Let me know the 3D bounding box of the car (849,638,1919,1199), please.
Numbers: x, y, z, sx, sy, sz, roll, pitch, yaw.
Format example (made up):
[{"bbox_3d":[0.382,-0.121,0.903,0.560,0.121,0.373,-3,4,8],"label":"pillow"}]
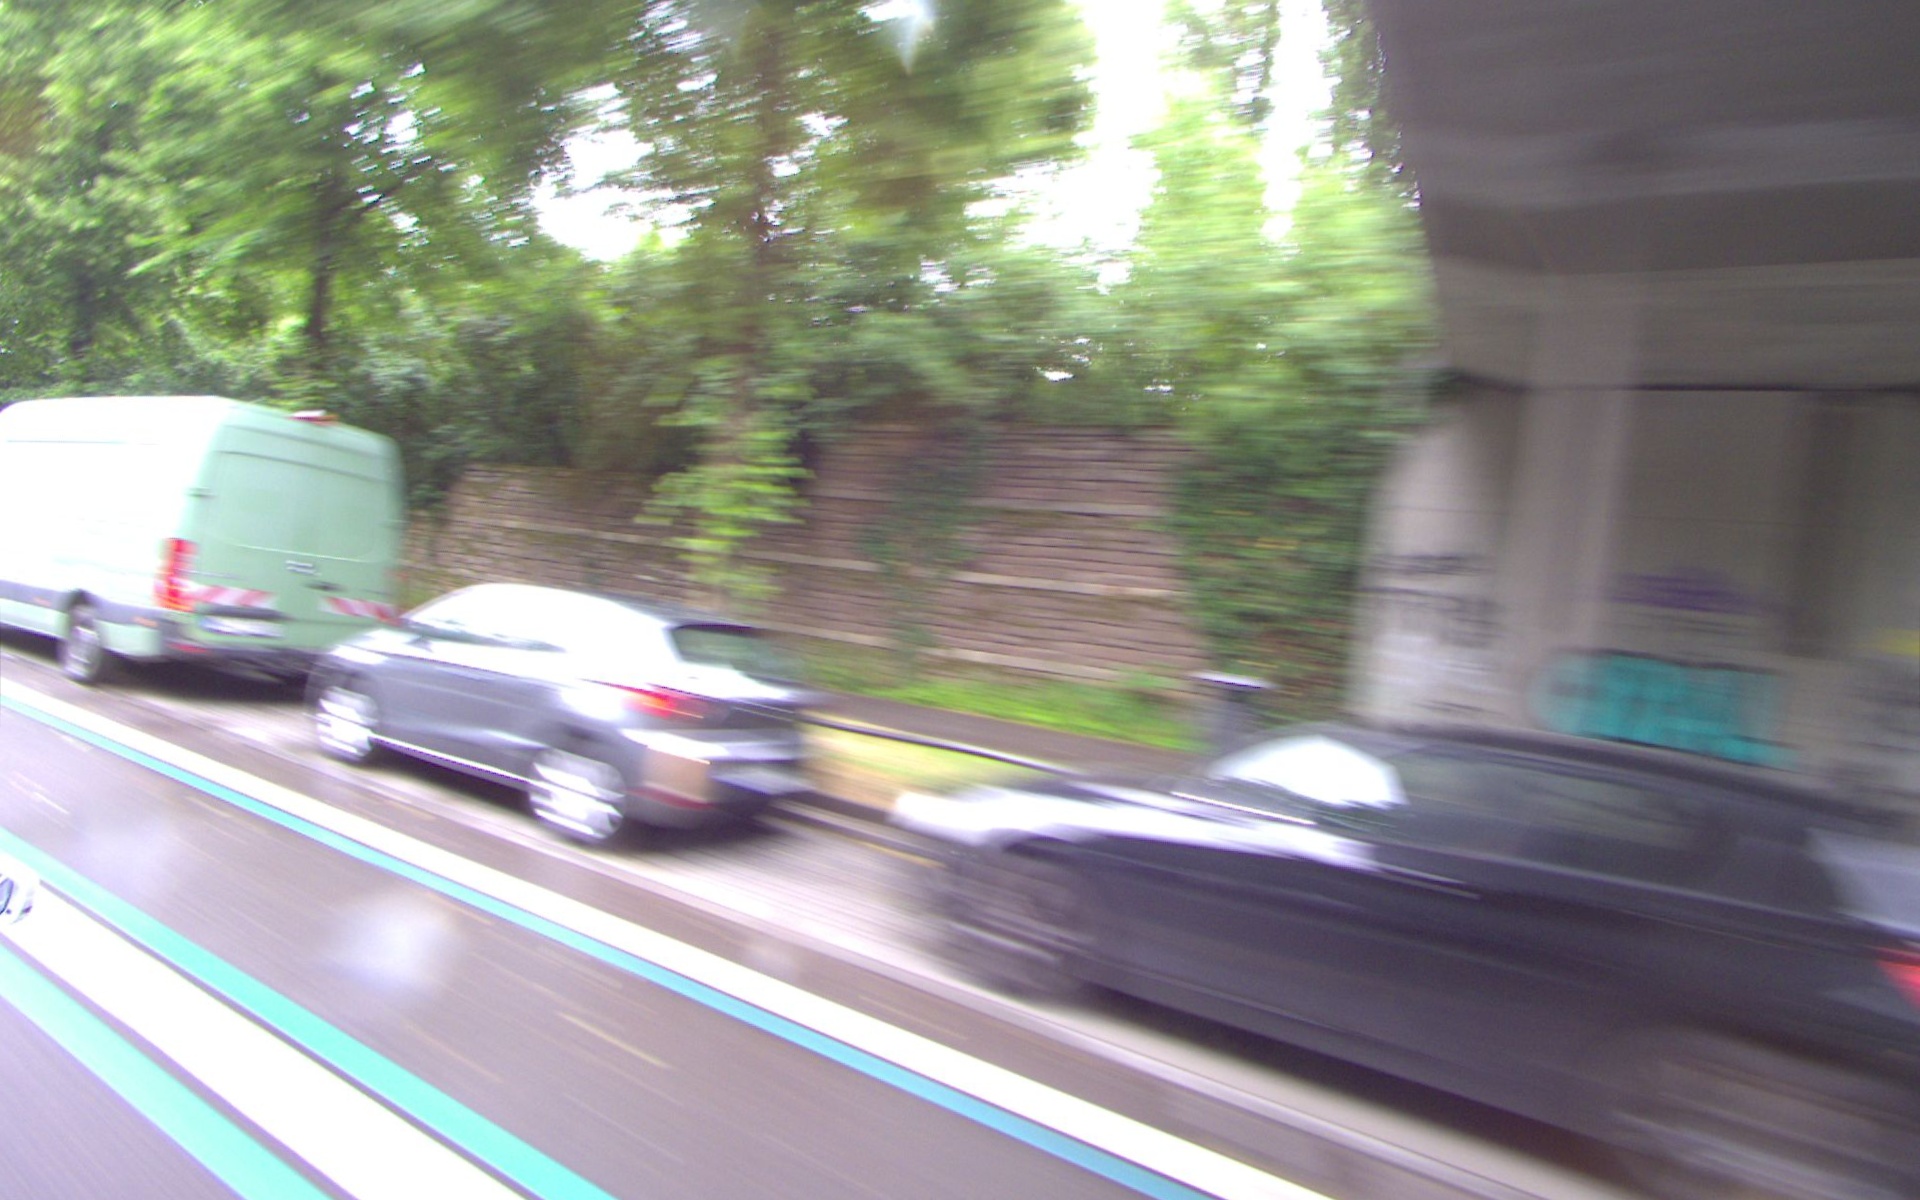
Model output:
[{"bbox_3d":[1.759,1.170,4.311,4.126,1.433,1.689,7,-1,30],"label":"car"}]

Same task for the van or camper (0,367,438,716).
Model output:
[{"bbox_3d":[-8.622,-0.704,10.576,6.785,2.760,2.047,7,-2,31],"label":"van or camper"}]

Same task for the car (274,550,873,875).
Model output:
[{"bbox_3d":[-2.812,0.622,7.076,4.031,1.433,1.689,7,-2,31],"label":"car"}]
